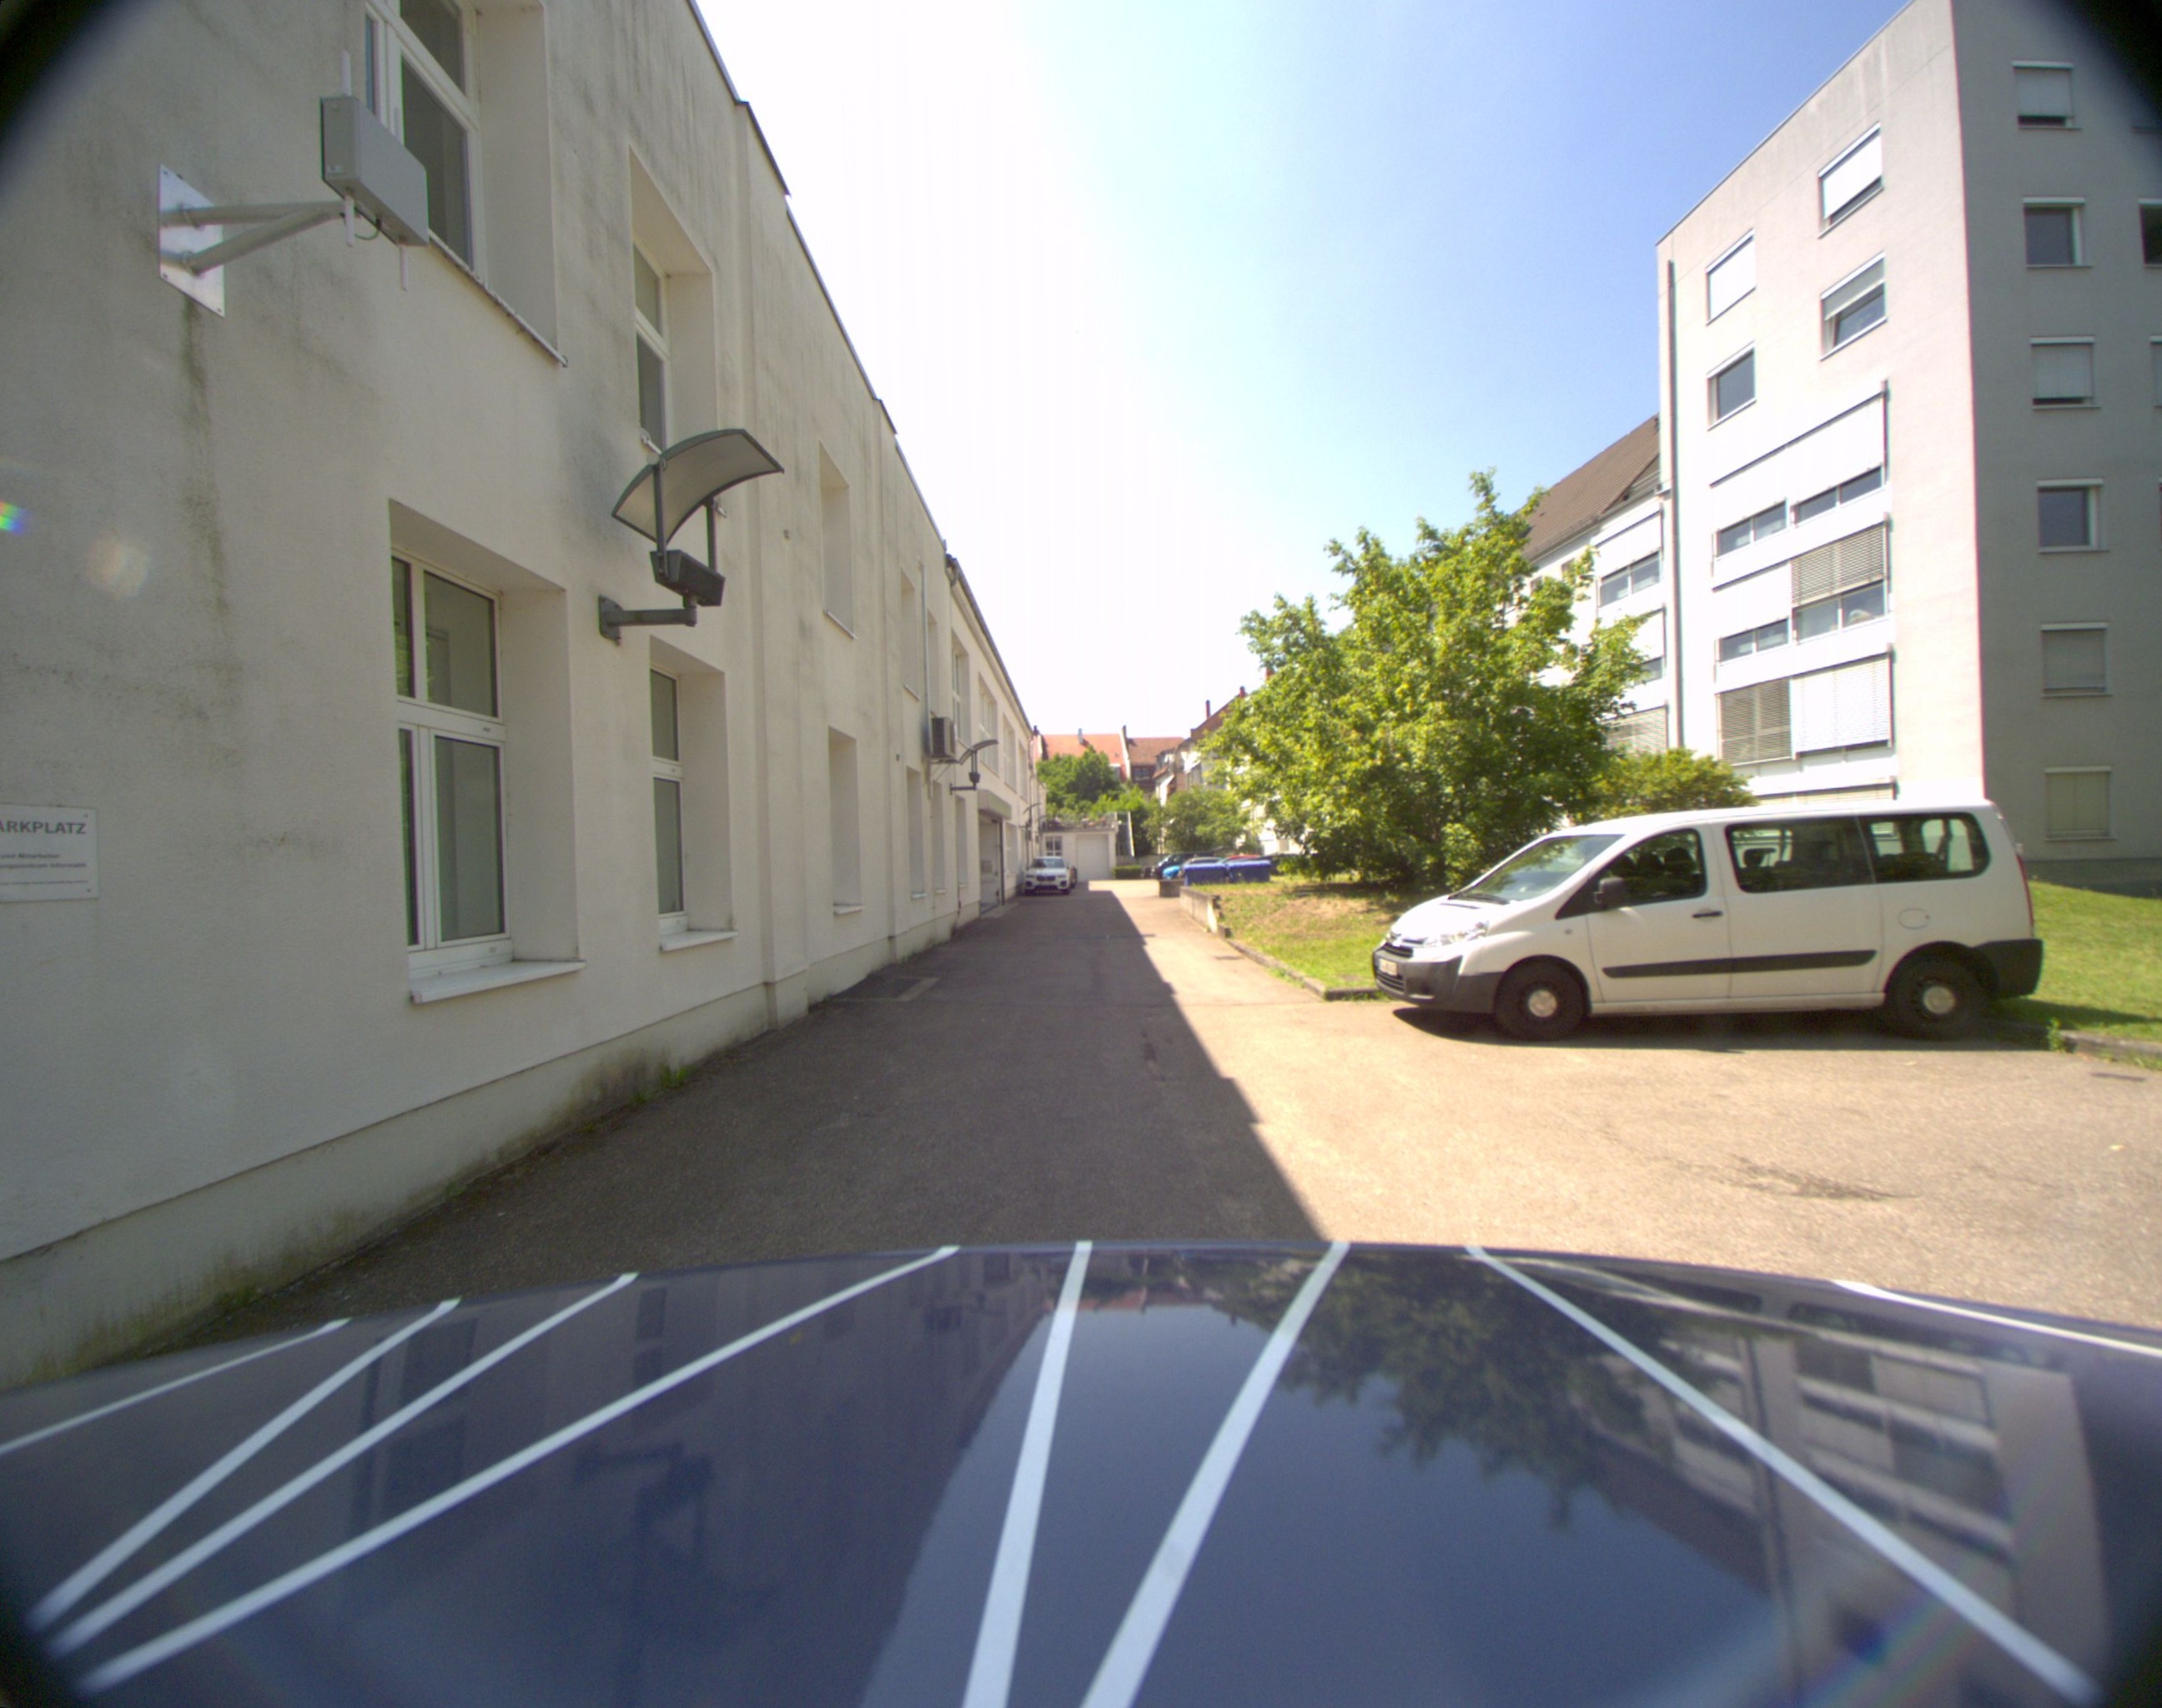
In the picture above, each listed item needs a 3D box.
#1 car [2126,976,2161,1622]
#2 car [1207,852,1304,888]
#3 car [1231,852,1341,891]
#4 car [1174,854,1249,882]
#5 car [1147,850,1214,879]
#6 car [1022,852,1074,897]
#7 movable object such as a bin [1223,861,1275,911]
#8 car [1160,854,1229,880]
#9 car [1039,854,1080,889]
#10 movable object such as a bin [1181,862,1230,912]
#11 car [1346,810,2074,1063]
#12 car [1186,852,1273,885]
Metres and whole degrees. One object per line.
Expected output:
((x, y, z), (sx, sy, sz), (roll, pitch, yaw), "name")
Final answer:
((4.433, 0.856, 0.495), (4.439, 1.371, 2.025), (-2, -1, 3), "car")
((8.414, 0.736, 36.812), (4.223, 1.560, 1.612), (-2, 1, -4), "car")
((9.150, 0.739, 34.092), (4.445, 1.560, 1.612), (-2, 1, -4), "car")
((7.981, 0.844, 46.745), (4.223, 1.560, 1.612), (-2, 1, -4), "car")
((6.858, 0.714, 52.759), (4.223, 1.812, 2.009), (-2, 1, -4), "car")
((-1.422, 0.876, 34.838), (2.011, 1.792, 4.727), (-2, 1, 1), "car")
((4.958, 0.923, 22.475), (1.271, 1.380, 1.095), (-2, 1, 1), "movable object such as a bin")
((7.427, 0.851, 49.814), (4.223, 1.560, 1.612), (-2, 1, -4), "car")
((-1.172, 0.938, 43.640), (2.011, 1.792, 4.727), (-2, 1, 1), "car")
((3.659, 0.963, 22.475), (1.271, 1.380, 1.095), (-2, 1, 1), "movable object such as a bin")
((5.228, 0.661, 6.981), (4.858, 1.872, 2.068), (-2, 1, 3), "car")
((7.819, 0.756, 40.128), (4.223, 1.560, 1.612), (-2, 1, -4), "car")
